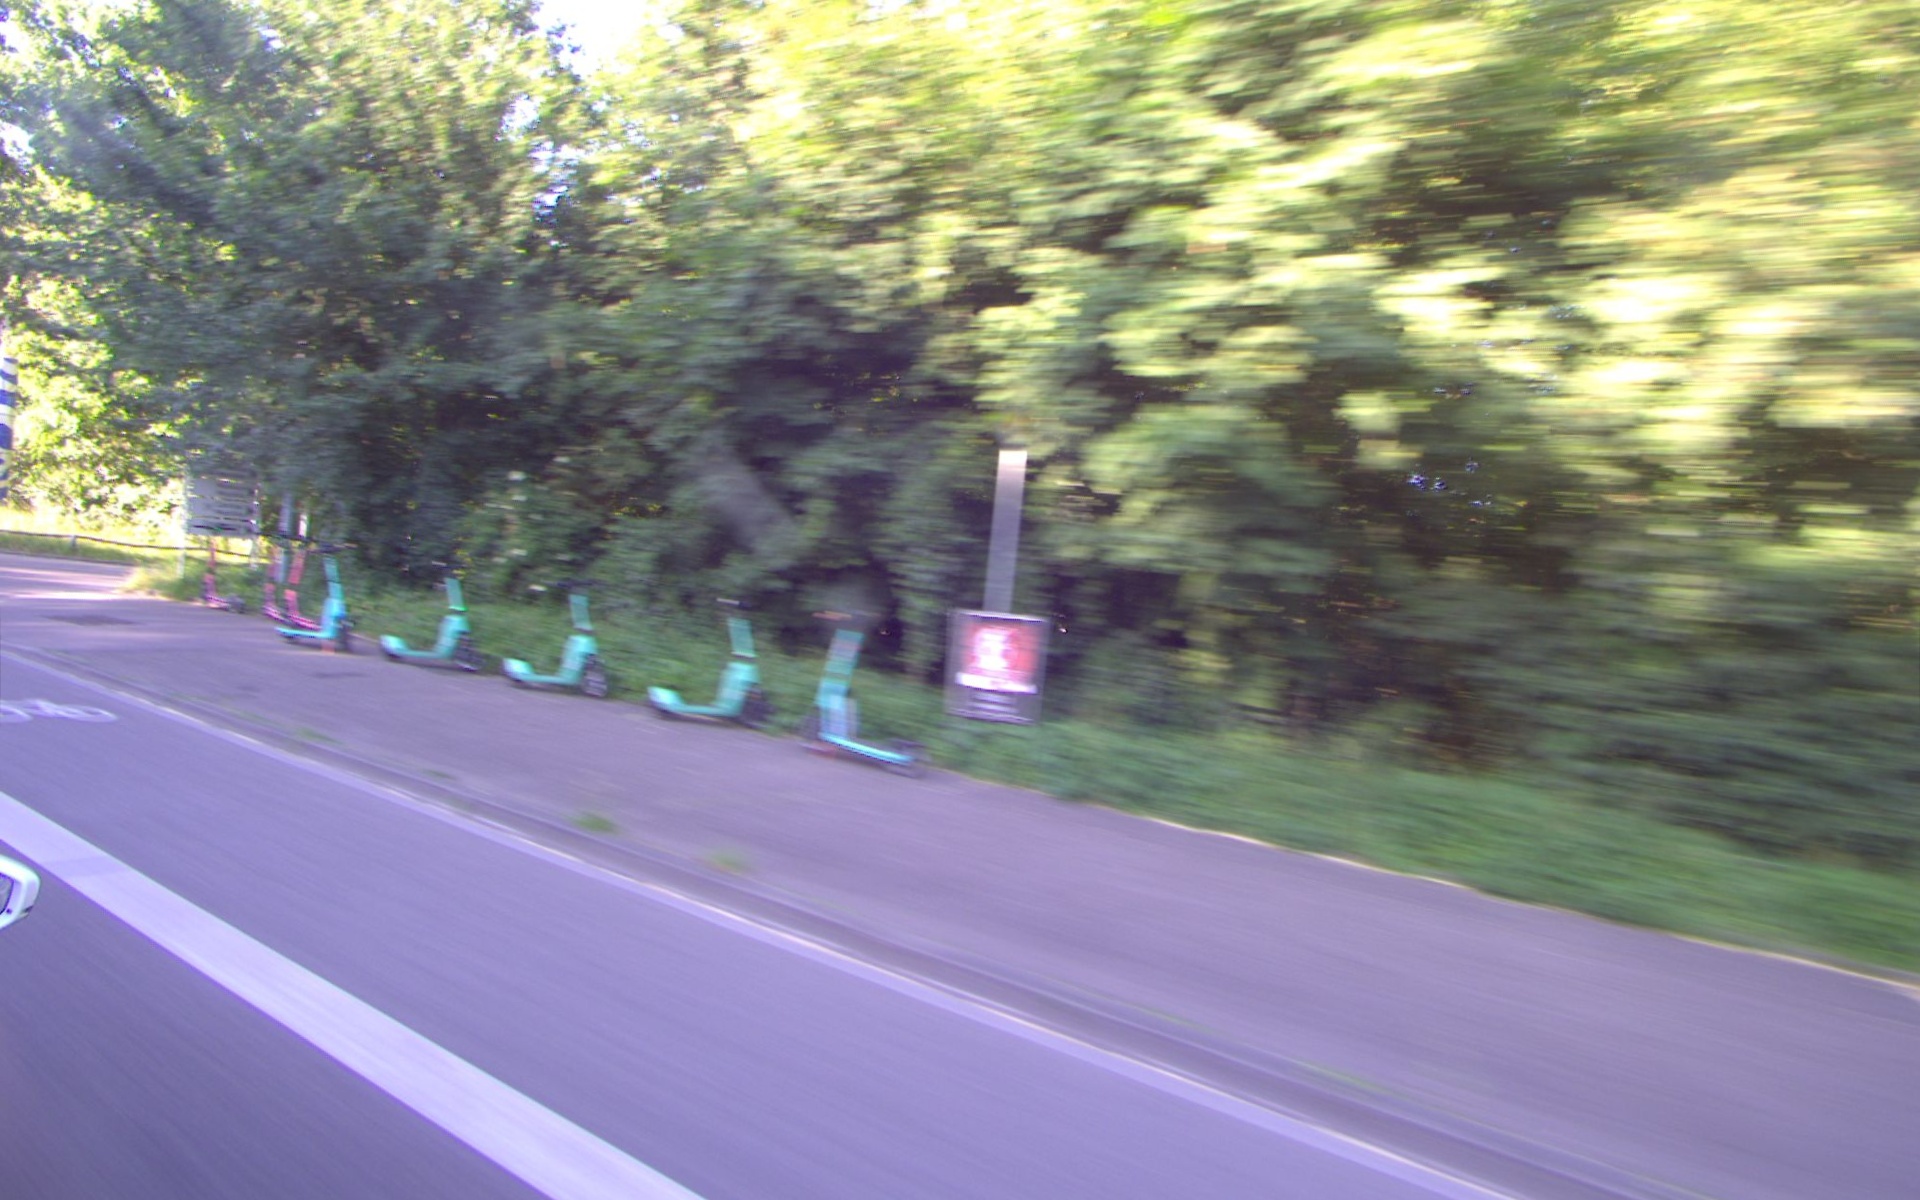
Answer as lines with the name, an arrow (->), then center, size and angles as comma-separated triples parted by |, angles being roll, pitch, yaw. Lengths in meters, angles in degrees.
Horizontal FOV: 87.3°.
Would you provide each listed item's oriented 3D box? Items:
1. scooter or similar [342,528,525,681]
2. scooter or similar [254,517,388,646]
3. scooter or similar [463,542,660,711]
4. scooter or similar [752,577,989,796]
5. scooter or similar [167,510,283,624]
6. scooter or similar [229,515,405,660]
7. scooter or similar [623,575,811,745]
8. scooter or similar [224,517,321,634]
scooter or similar -> -5.763, 0.043, 11.025 | 1.650, 1.441, 0.684 | 7, 1, 16
scooter or similar -> -8.126, -0.238, 12.772 | 1.654, 1.441, 0.682 | 7, 1, 32
scooter or similar -> -3.978, 0.249, 10.058 | 1.650, 1.441, 0.684 | 7, 1, 18
scooter or similar -> -0.727, 0.634, 7.963 | 1.653, 1.441, 0.682 | 7, 1, 31
scooter or similar -> -10.592, -0.480, 14.477 | 1.654, 1.441, 0.682 | 7, 1, 32
scooter or similar -> -7.370, -0.144, 11.544 | 1.650, 1.441, 0.684 | 7, 1, 16
scooter or similar -> -2.184, 0.525, 9.072 | 1.452, 1.323, 0.467 | 7, 1, 9
scooter or similar -> -9.335, -0.341, 13.642 | 1.227, 1.441, 0.681 | 7, 1, 40
